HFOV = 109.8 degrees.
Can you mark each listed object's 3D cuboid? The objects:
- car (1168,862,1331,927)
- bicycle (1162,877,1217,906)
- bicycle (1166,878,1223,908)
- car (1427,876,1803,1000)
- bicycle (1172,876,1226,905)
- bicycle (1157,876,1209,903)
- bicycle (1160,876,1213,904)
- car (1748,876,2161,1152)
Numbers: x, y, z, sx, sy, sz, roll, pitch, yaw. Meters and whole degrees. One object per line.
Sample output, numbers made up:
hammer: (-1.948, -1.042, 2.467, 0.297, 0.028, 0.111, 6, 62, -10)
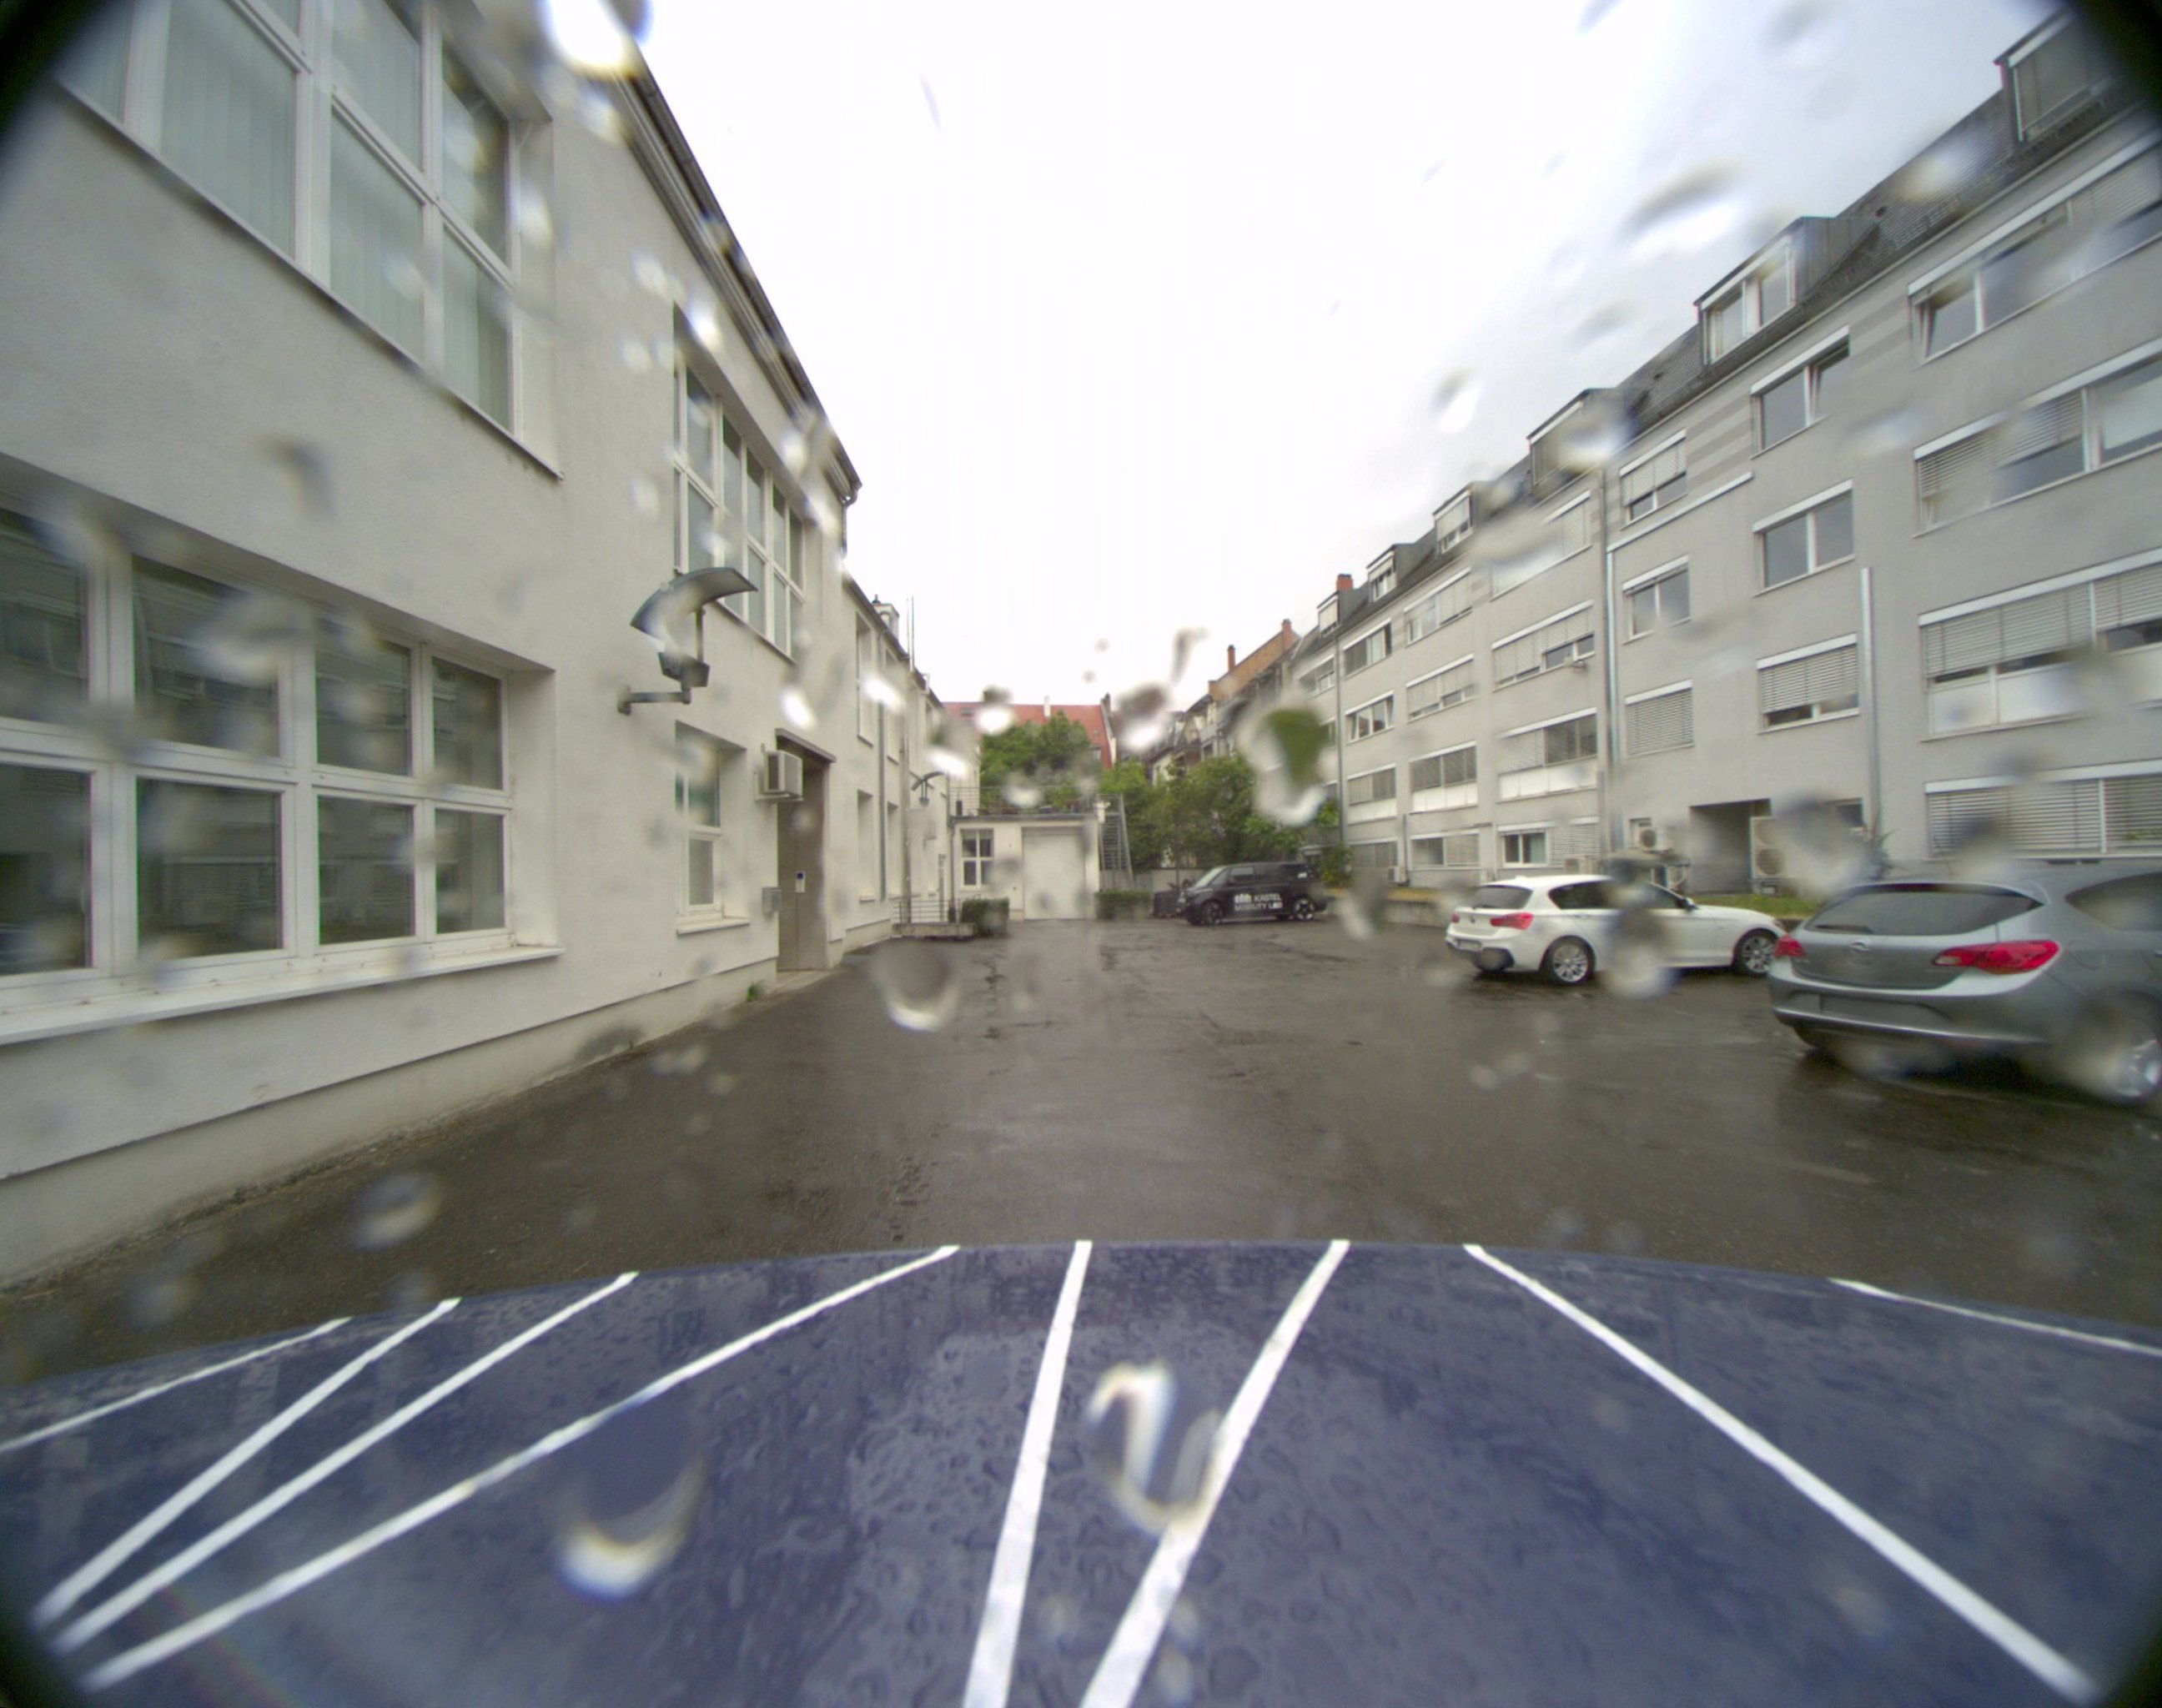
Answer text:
car: (5.328, 1.279, 24.371, 4.631, 1.825, 1.988, -2, -2, -8)
bicycle: (4.798, 1.674, 33.634, 2.319, 1.179, 0.643, -2, 1, -1)
bicycle: (4.894, 1.685, 32.838, 2.319, 1.179, 0.643, -2, 1, -1)
car: (7.310, 1.085, 10.637, 4.152, 1.425, 1.752, -1, -1, -6)
bicycle: (5.336, 1.648, 34.309, 2.319, 1.179, 0.643, -2, 1, -1)
bicycle: (4.749, 1.645, 35.434, 2.319, 1.179, 0.643, -2, 1, -1)
bicycle: (4.811, 1.654, 34.803, 2.319, 1.179, 0.643, -2, 1, -1)
car: (7.582, 0.933, 5.435, 4.178, 1.474, 1.822, -1, -2, -6)
